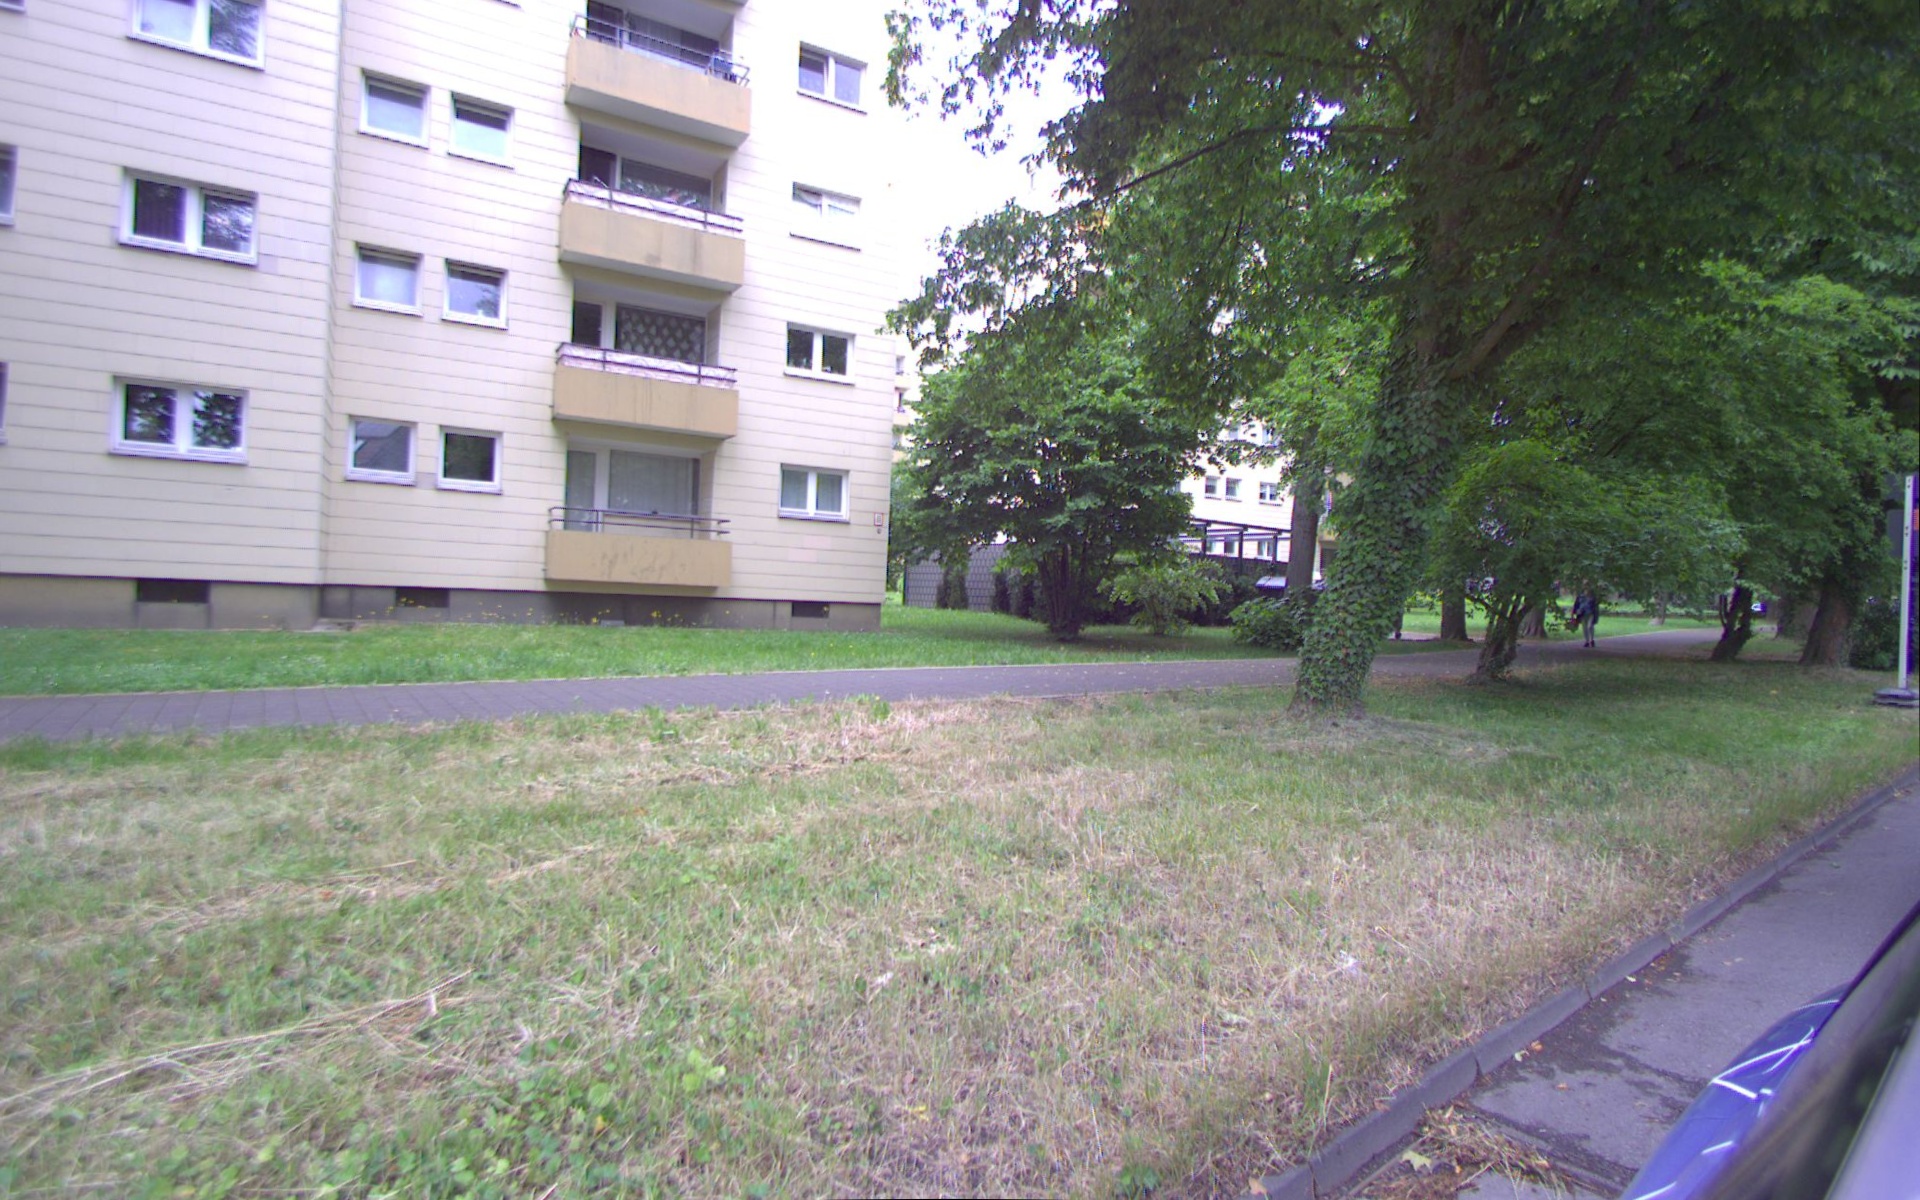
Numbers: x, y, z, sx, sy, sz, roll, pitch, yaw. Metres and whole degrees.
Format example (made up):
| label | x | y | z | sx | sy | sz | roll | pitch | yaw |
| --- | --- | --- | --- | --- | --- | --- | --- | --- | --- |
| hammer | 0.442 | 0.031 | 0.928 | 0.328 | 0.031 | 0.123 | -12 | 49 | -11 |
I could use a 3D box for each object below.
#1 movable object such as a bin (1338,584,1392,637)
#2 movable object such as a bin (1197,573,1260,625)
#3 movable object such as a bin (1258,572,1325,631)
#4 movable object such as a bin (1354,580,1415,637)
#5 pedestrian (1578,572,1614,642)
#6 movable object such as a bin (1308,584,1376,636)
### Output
| label | x | y | z | sx | sy | sz | roll | pitch | yaw |
| --- | --- | --- | --- | --- | --- | --- | --- | --- | --- |
| movable object such as a bin | 10.545 | 0.269 | 26.344 | 1.022 | 1.320 | 0.946 | 3 | 2 | 41 |
| movable object such as a bin | 7.406 | -0.028 | 27.914 | 1.190 | 1.358 | 1.328 | 3 | 2 | 41 |
| movable object such as a bin | 8.668 | 0.031 | 26.441 | 1.190 | 1.475 | 1.328 | 3 | 2 | 41 |
| movable object such as a bin | 11.347 | 0.209 | 27.062 | 1.190 | 1.431 | 1.094 | 3 | 2 | 41 |
| pedestrian | 16.483 | 0.176 | 26.239 | 0.560 | 1.761 | 0.565 | 1 | 2 | -41 |
| movable object such as a bin | 9.658 | 0.247 | 25.570 | 1.190 | 1.236 | 1.328 | 3 | 2 | 41 |
